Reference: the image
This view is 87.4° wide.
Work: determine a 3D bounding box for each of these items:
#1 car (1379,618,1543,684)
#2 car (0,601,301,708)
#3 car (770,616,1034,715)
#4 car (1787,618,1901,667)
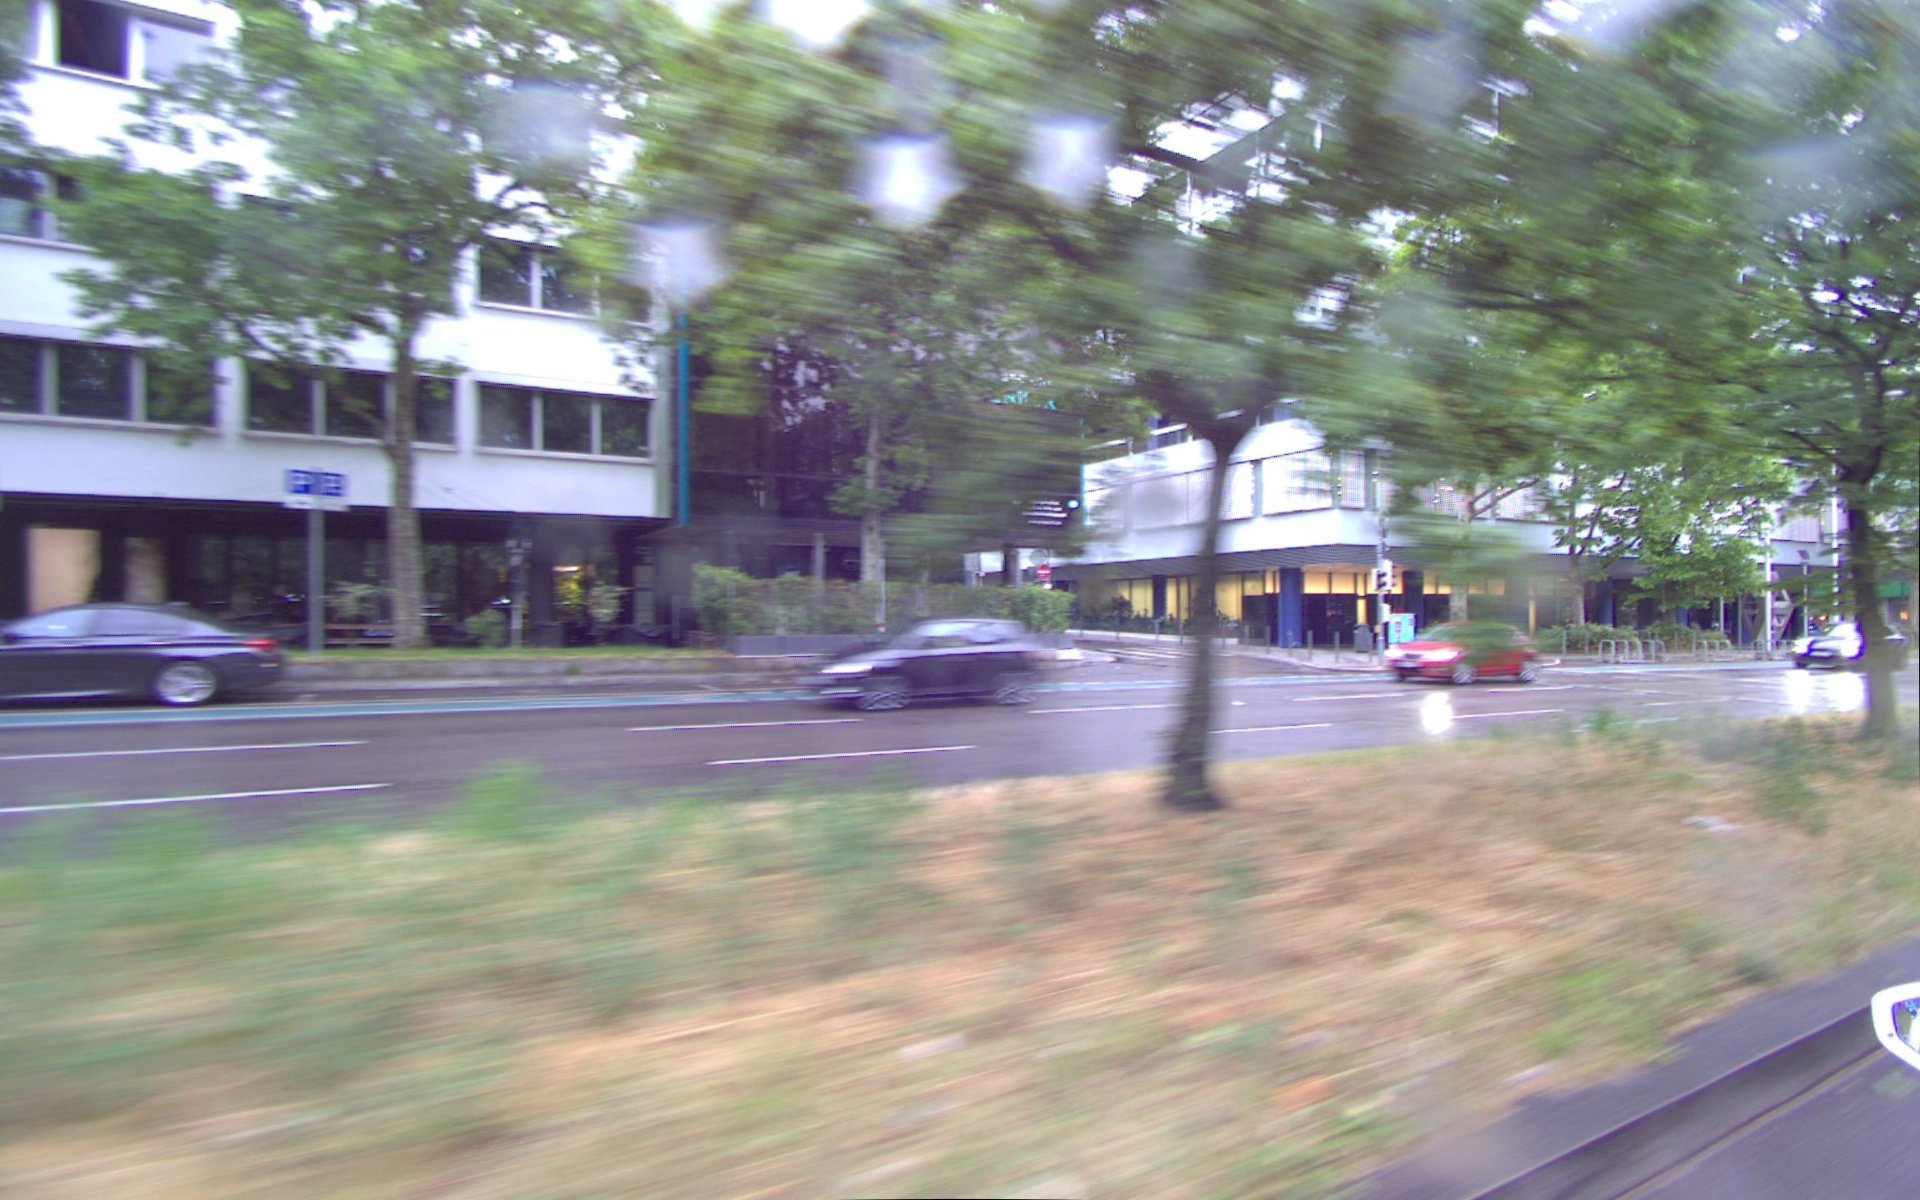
[{"bbox_3d":[12.097,1.174,24.201,4.136,1.412,1.606,0,0,-31],"label":"car"},{"bbox_3d":[-12.431,0.726,14.444,4.847,1.428,1.685,0,0,-31],"label":"car"},{"bbox_3d":[-0.922,0.988,16.472,3.954,1.408,1.834,0,0,-31],"label":"car"},{"bbox_3d":[30.358,1.417,34.465,4.142,1.572,1.820,1,-1,-32],"label":"car"}]
